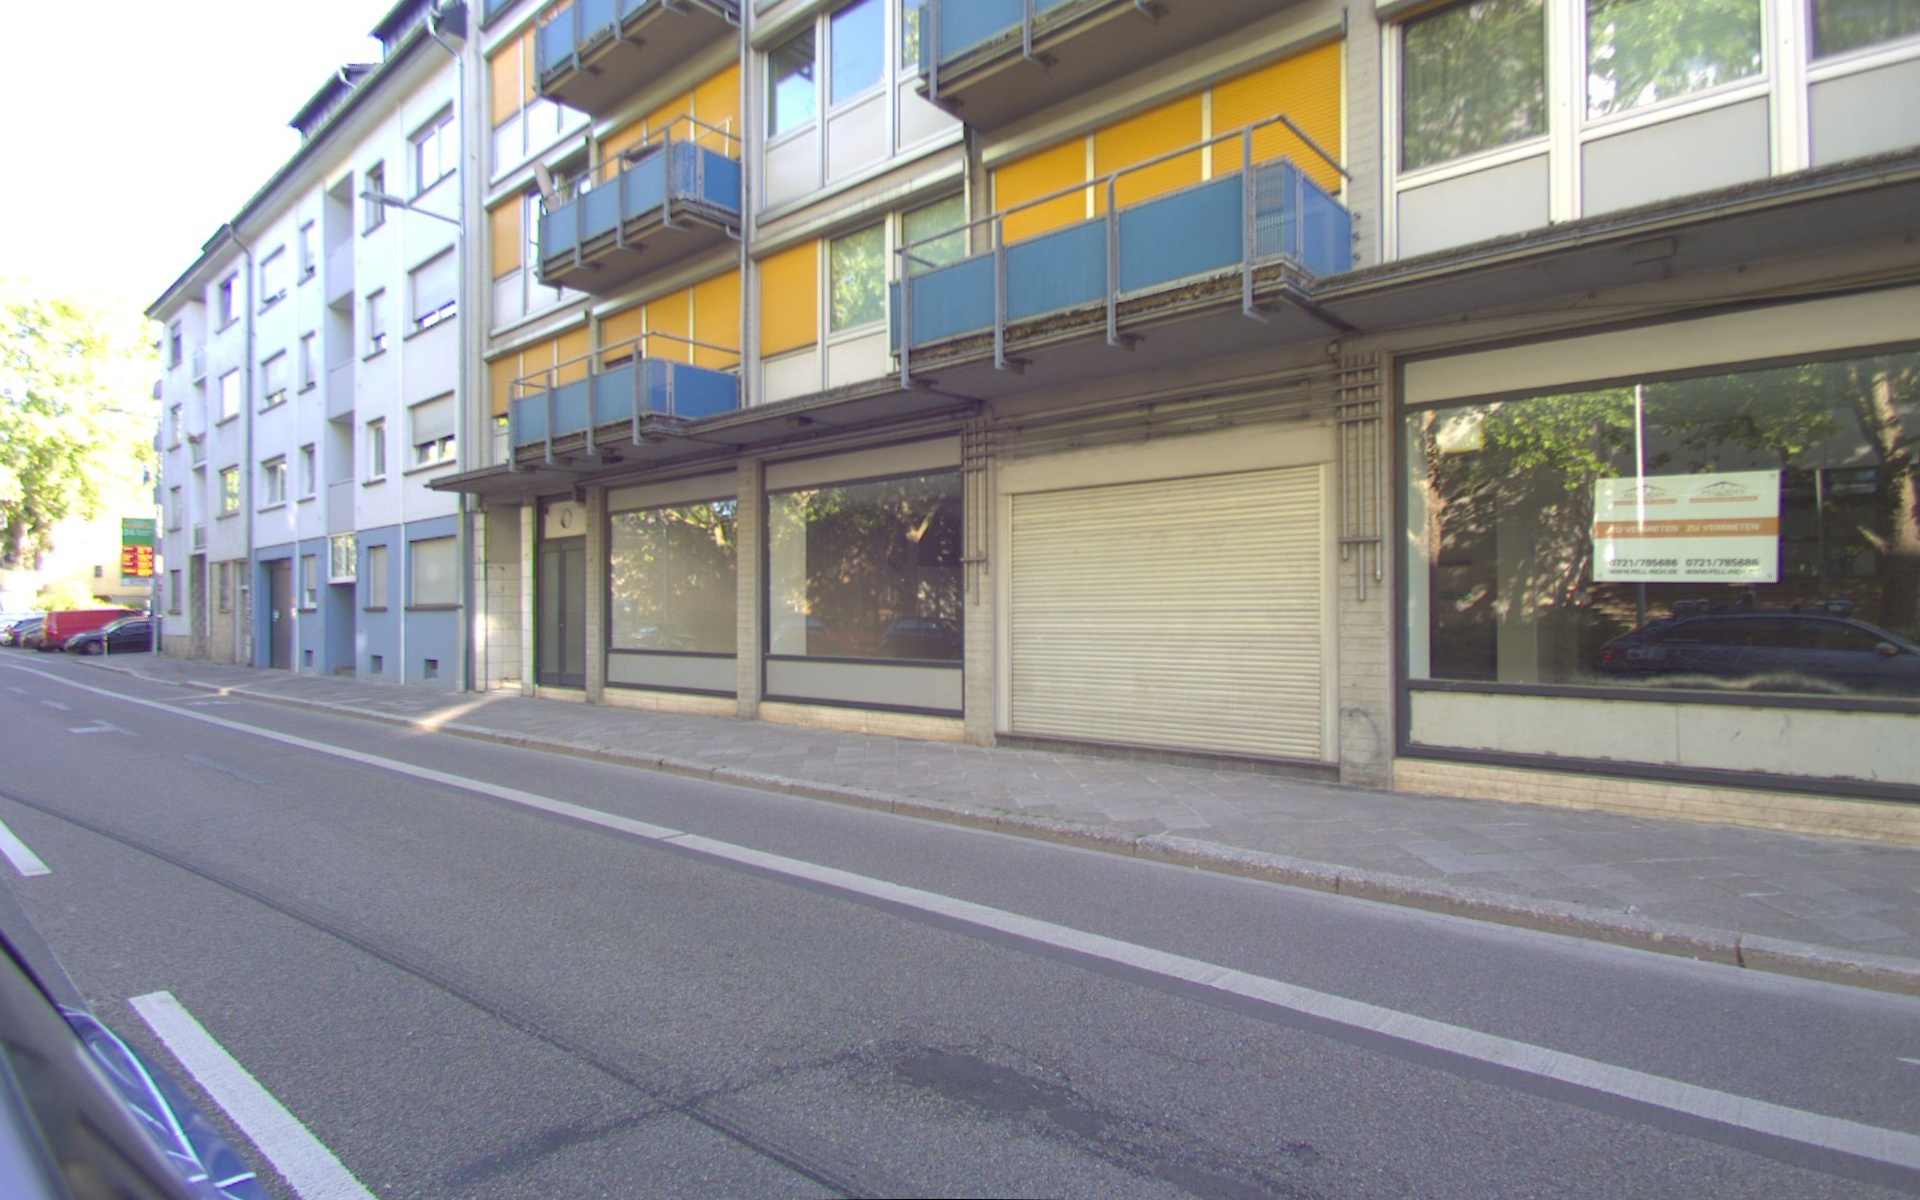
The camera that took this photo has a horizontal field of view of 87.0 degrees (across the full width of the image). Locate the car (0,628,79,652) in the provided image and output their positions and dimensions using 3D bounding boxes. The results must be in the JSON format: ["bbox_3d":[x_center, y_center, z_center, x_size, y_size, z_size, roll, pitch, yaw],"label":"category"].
[{"bbox_3d":[-52.269,2.244,57.506,1.345,1.254,3.228,-1,0,43],"label":"car"}]

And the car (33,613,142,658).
[{"bbox_3d":[-40.660,1.643,47.226,1.488,1.923,3.642,-4,-2,39],"label":"car"}]

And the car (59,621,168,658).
[{"bbox_3d":[-38.201,1.763,45.726,1.490,1.523,3.638,-1,0,43],"label":"car"}]

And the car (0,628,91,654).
[{"bbox_3d":[-50.455,2.237,55.877,1.345,1.254,3.638,-1,0,42],"label":"car"}]

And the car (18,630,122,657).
[{"bbox_3d":[-42.823,2.069,48.741,1.345,1.137,3.638,-1,0,42],"label":"car"}]

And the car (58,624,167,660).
[{"bbox_3d":[-36.685,1.806,43.846,1.490,1.398,3.462,-1,0,43],"label":"car"}]
